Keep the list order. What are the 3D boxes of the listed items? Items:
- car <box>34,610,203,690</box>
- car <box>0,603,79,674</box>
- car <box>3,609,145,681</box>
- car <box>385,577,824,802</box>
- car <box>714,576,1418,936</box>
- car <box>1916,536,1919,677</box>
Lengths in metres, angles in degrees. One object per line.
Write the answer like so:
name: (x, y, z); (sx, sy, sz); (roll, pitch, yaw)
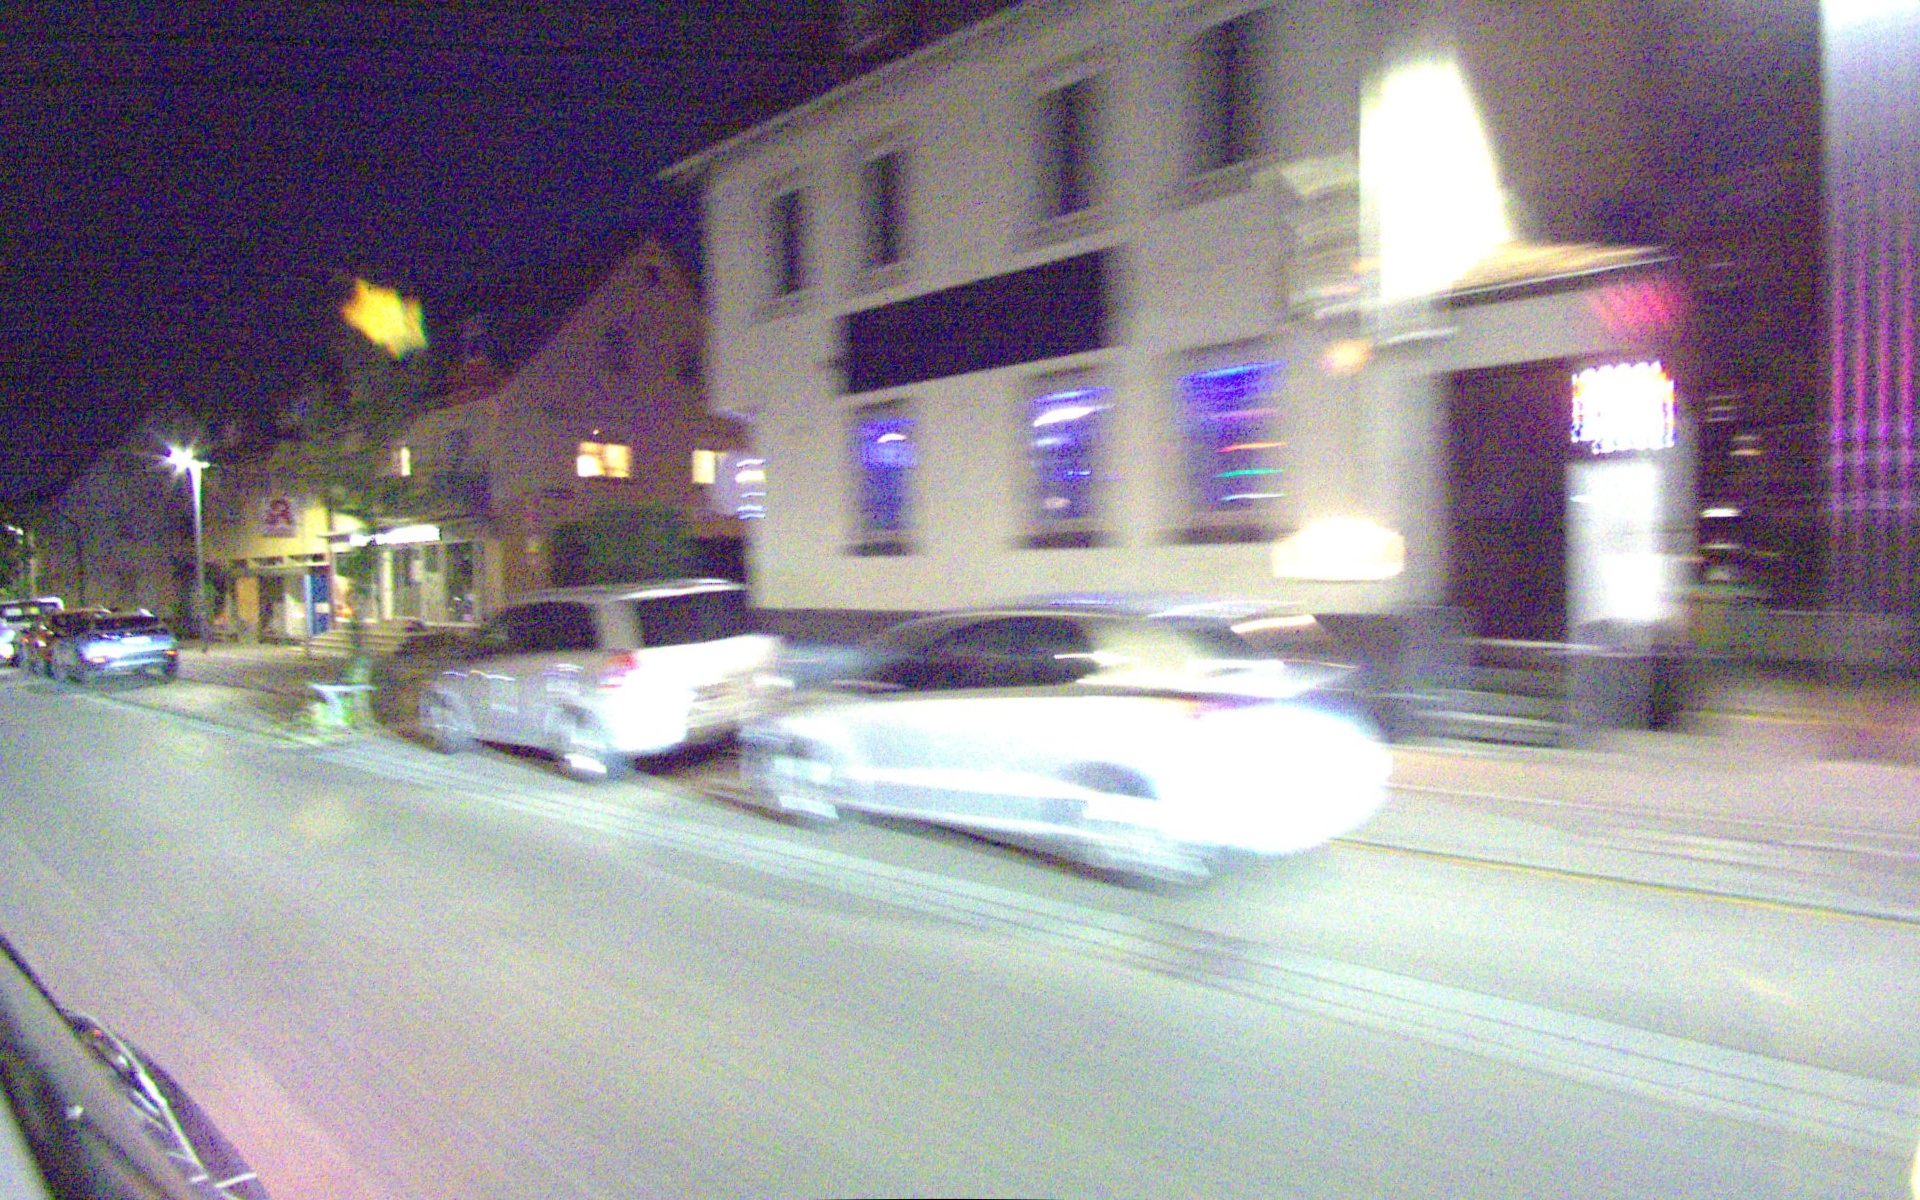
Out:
car: (-19.578, 1.066, 23.485); (4.471, 1.559, 2.096); (-1, 3, 39)
car: (-28.862, 1.151, 30.891); (4.882, 1.961, 2.095); (-2, 1, 39)
car: (-23.393, 1.141, 26.679); (4.164, 1.683, 2.095); (-2, 1, 39)
car: (-3.564, 0.696, 9.726); (4.466, 1.649, 1.910); (-2, 1, 40)
car: (0.452, 0.682, 6.210); (3.962, 1.479, 1.753); (-2, 1, 40)
car: (10.449, 0.088, 9.015); (2.024, 1.573, 4.278); (-1, 0, 33)
